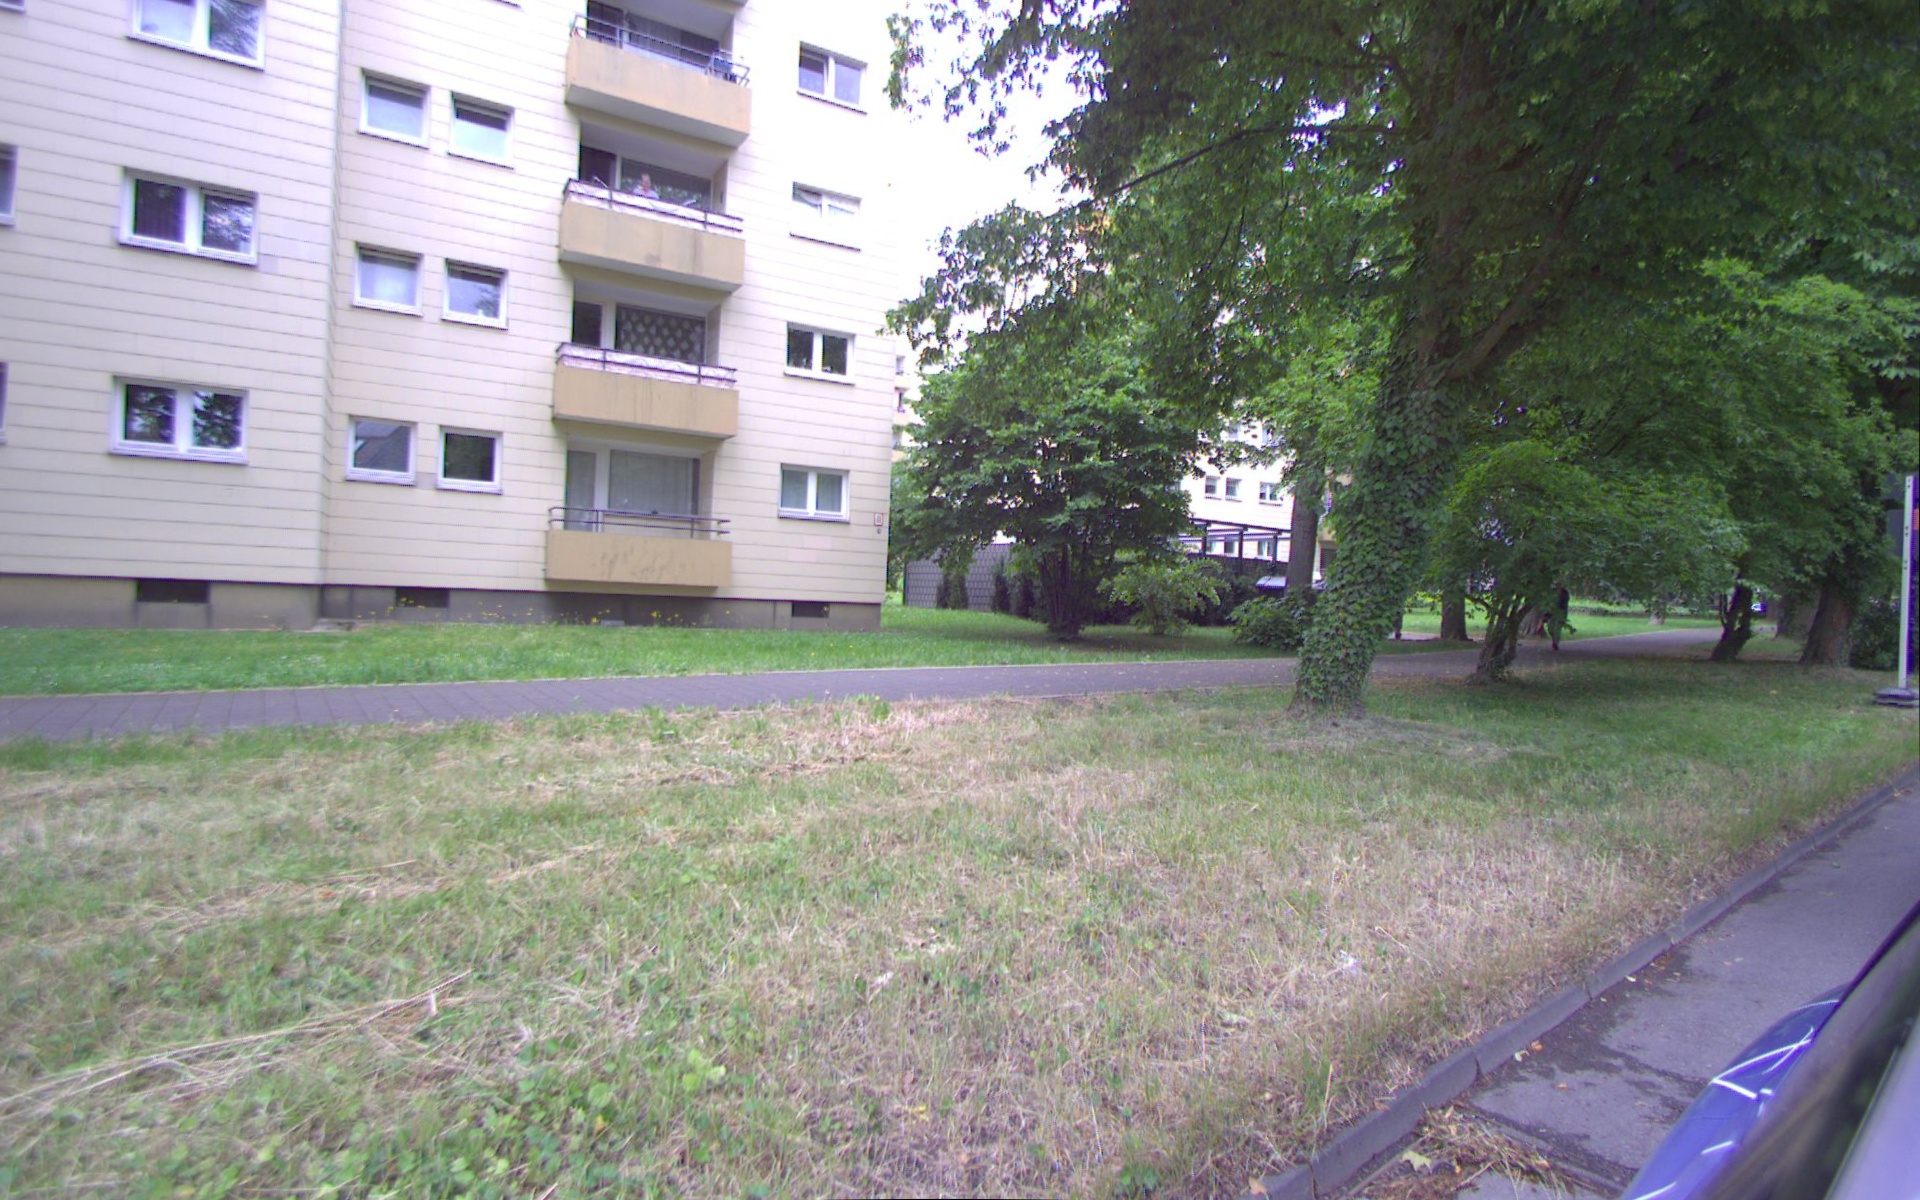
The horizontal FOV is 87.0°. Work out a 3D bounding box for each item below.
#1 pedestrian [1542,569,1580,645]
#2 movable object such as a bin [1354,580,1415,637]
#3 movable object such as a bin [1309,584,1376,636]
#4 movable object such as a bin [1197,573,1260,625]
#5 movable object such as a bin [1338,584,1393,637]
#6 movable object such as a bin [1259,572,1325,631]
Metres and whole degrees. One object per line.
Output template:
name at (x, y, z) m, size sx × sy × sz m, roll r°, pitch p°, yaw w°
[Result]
pedestrian at (14.353, 0.161, 24.164) m, size 0.560 × 1.761 × 0.565 m, roll 1°, pitch 2°, yaw -41°
movable object such as a bin at (11.357, 0.207, 27.066) m, size 1.190 × 1.431 × 1.094 m, roll 3°, pitch 2°, yaw 41°
movable object such as a bin at (9.669, 0.245, 25.574) m, size 1.190 × 1.236 × 1.328 m, roll 3°, pitch 2°, yaw 41°
movable object such as a bin at (7.417, -0.029, 27.918) m, size 1.190 × 1.358 × 1.328 m, roll 3°, pitch 2°, yaw 41°
movable object such as a bin at (10.556, 0.267, 26.348) m, size 1.022 × 1.320 × 0.946 m, roll 3°, pitch 2°, yaw 41°
movable object such as a bin at (8.679, 0.029, 26.446) m, size 1.190 × 1.475 × 1.328 m, roll 3°, pitch 2°, yaw 41°
